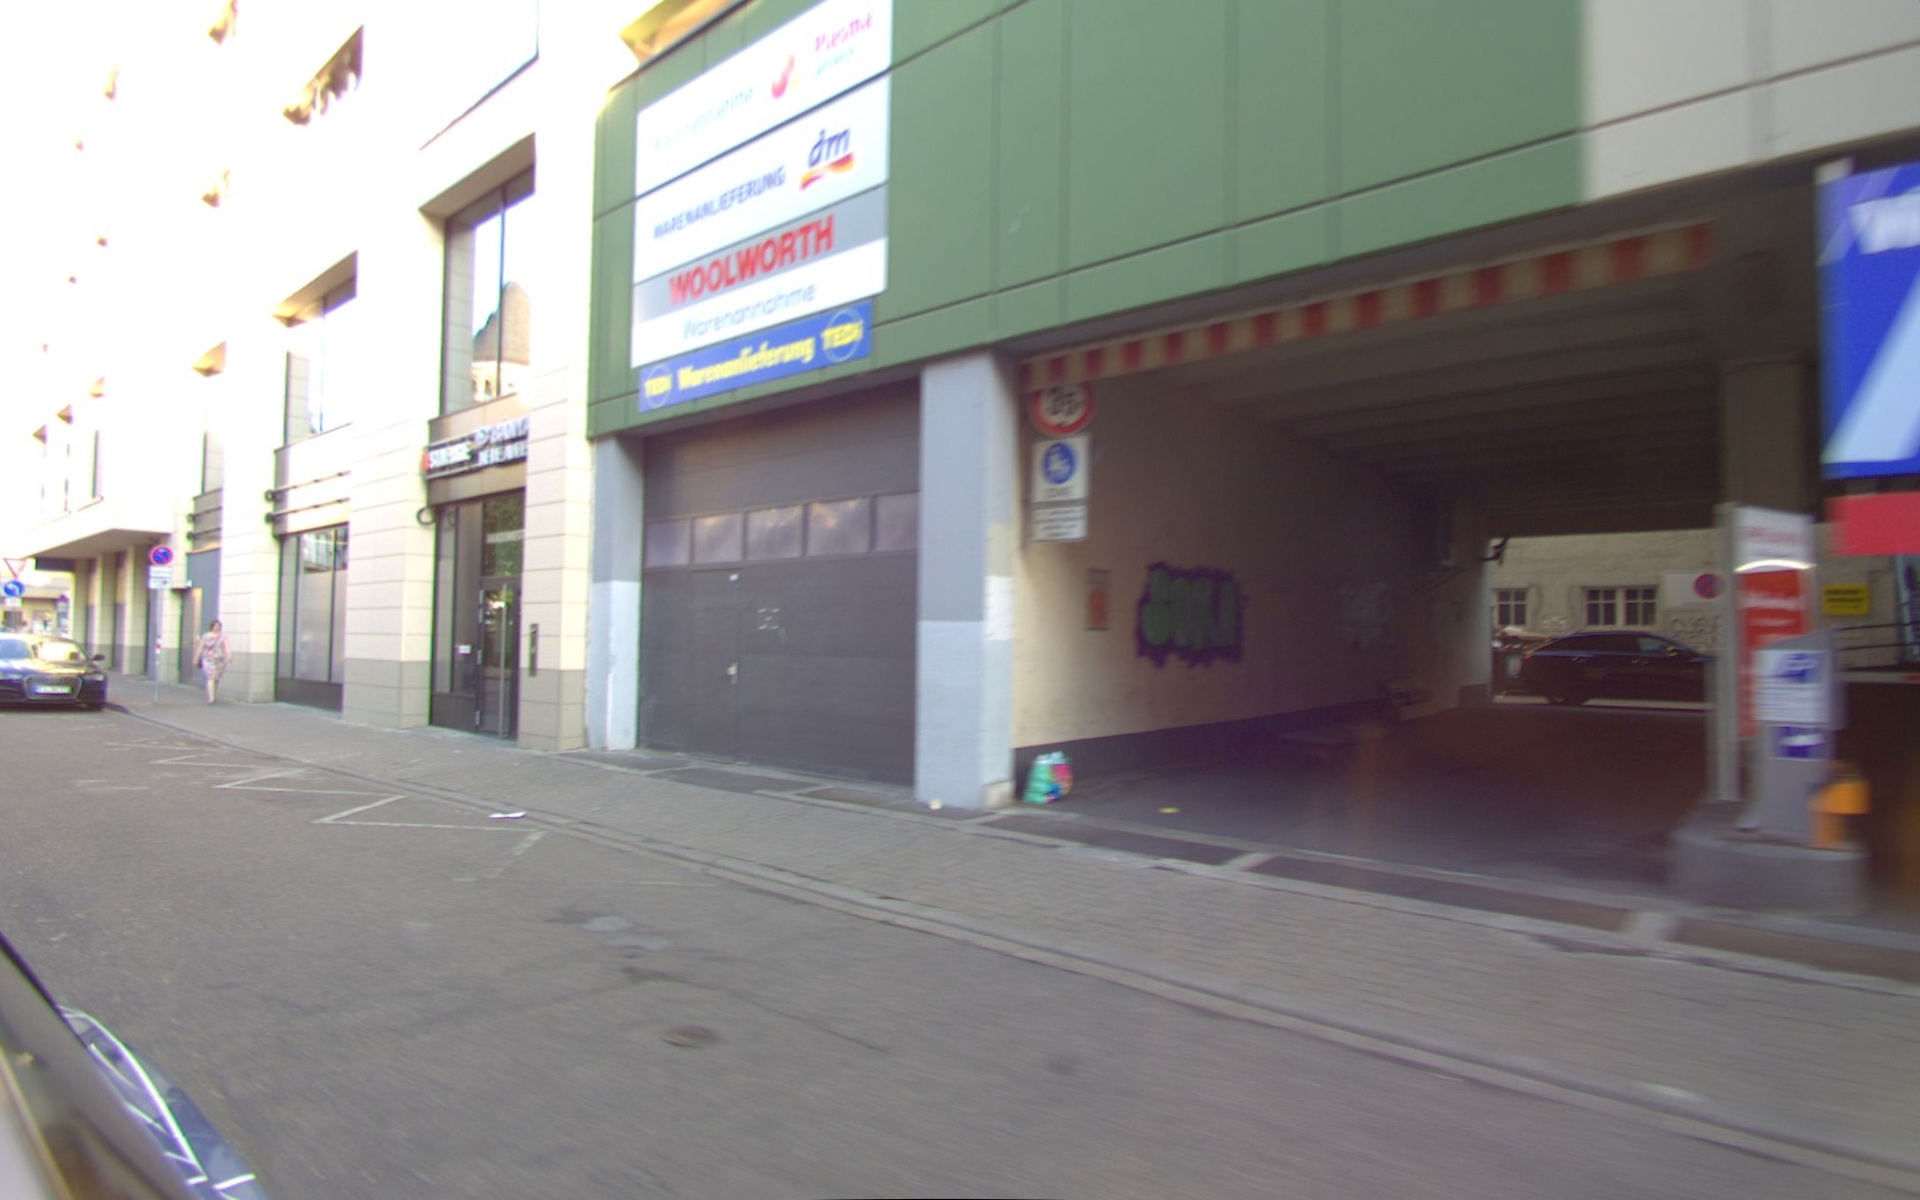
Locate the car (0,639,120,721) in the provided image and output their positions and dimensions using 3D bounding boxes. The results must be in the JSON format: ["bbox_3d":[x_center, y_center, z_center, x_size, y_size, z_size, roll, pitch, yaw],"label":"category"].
[{"bbox_3d":[-18.748,1.553,20.473,4.557,1.428,1.972,-1,-4,42],"label":"car"}]

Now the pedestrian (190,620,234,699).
[{"bbox_3d":[-15.793,1.247,21.372,0.565,1.638,0.612,-2,-3,41],"label":"pedestrian"}]

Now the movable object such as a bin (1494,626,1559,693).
[{"bbox_3d":[15.434,1.592,27.590,1.272,1.770,1.347,-2,-1,41],"label":"movable object such as a bin"}]

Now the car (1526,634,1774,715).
[{"bbox_3d":[14.592,1.507,21.534,4.204,1.480,1.610,-1,-1,41],"label":"car"}]

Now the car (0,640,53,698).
[{"bbox_3d":[-25.600,1.771,26.612,3.622,1.460,1.797,-1,-5,36],"label":"car"}]

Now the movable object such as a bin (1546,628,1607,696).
[{"bbox_3d":[16.317,1.611,26.789,1.161,1.727,1.283,-2,-3,41],"label":"movable object such as a bin"}]
